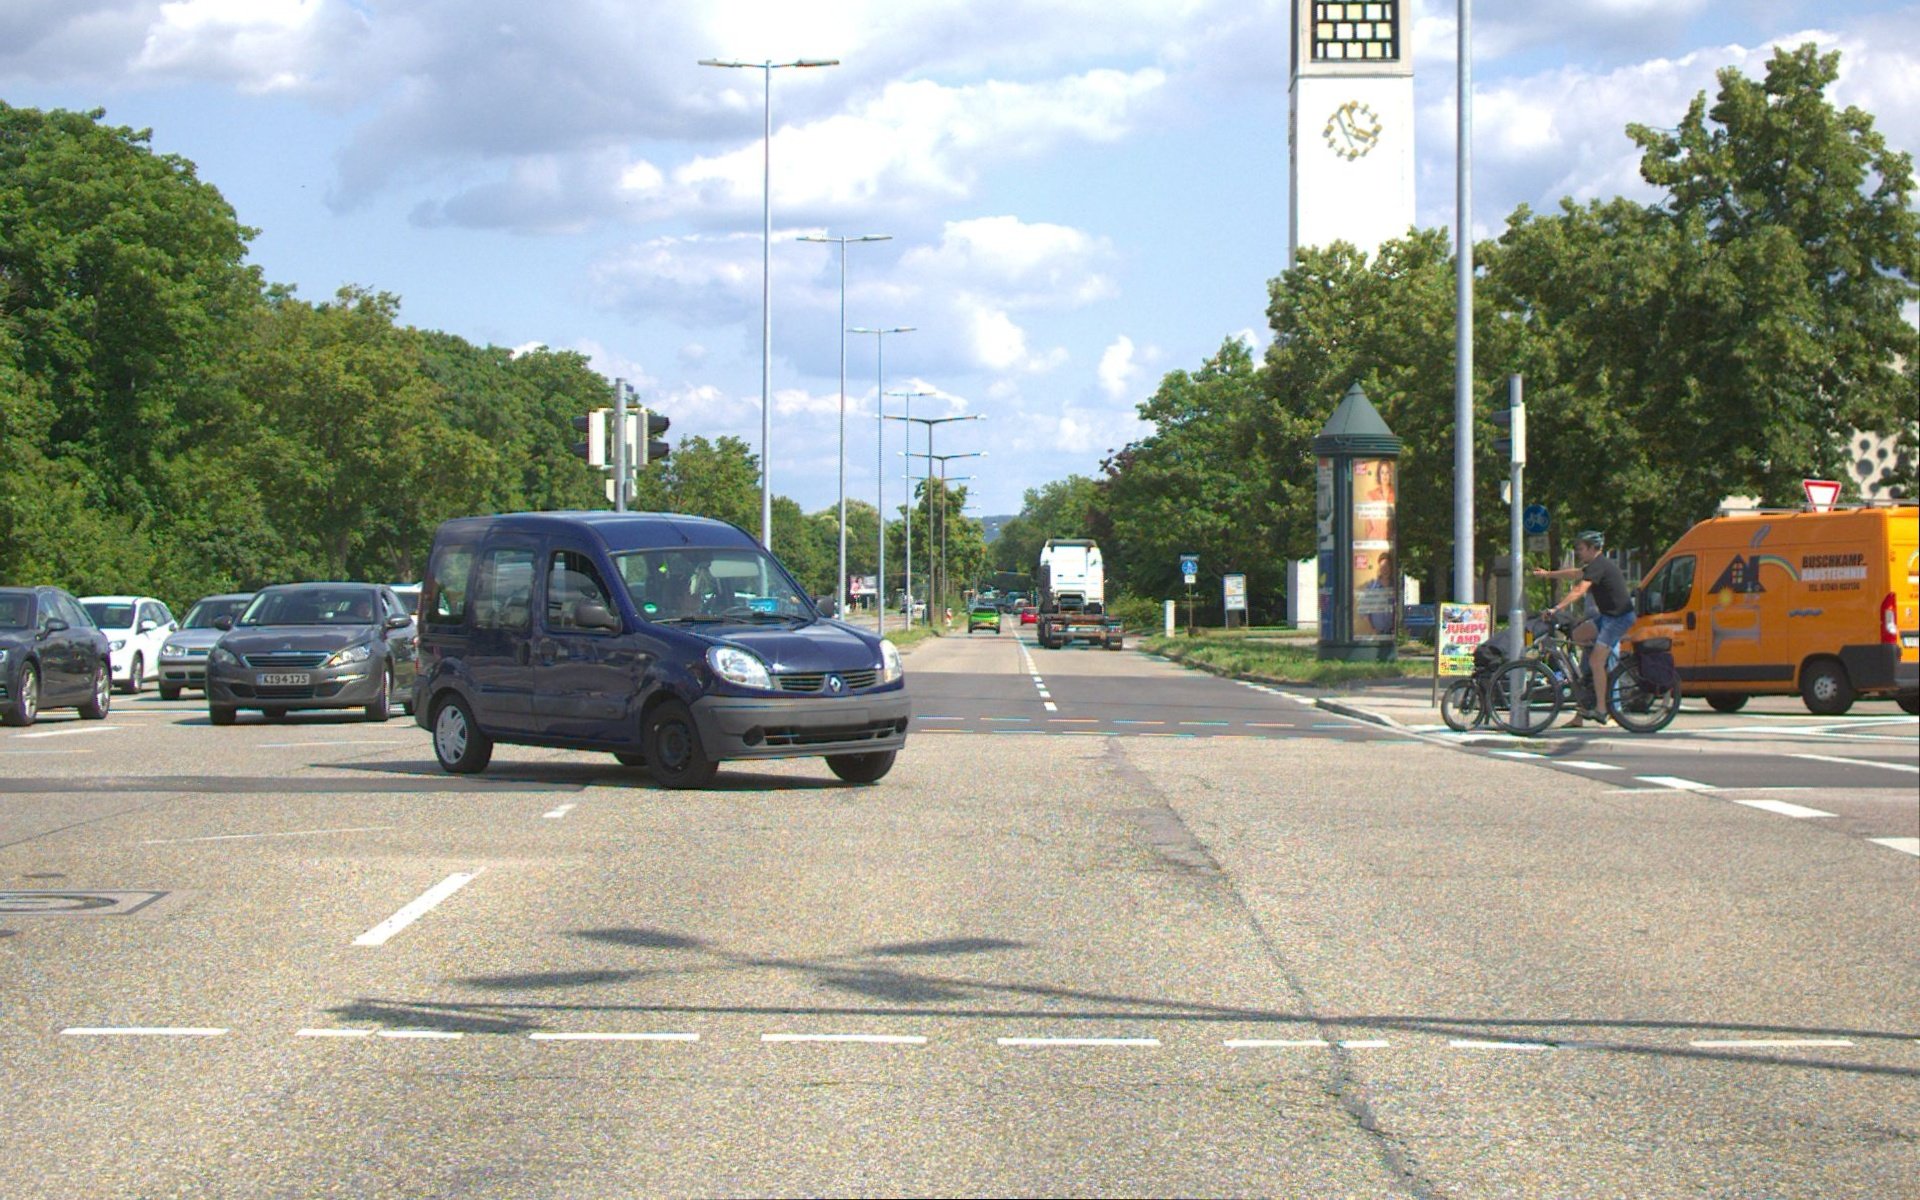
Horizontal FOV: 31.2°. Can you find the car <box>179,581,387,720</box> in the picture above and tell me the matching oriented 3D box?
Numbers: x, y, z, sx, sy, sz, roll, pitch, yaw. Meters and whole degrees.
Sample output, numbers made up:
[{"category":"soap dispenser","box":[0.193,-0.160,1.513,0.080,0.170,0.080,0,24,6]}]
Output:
[{"category":"car","box":[-6.911,0.493,35.355,1.568,1.311,3.432,2,0,-3]}]

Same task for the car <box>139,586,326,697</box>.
[{"category":"car","box":[-9.953,0.548,47.290,1.725,1.393,4.000,2,0,-1]}]

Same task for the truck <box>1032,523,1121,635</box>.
[{"category":"truck","box":[4.330,-0.706,126.230,2.960,3.957,8.636,1,-1,4]}]

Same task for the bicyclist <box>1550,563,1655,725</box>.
[{"category":"bicyclist","box":[6.508,0.435,34.845,0.698,1.610,0.797,0,0,-24]}]

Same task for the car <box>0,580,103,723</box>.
[{"category":"car","box":[-9.847,0.480,34.249,1.763,1.347,3.519,0,0,-1]}]

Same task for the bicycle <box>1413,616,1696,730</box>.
[{"category":"bicycle","box":[5.995,0.722,34.628,2.832,1.108,0.797,0,1,-24]}]

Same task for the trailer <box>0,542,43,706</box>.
[{"category":"trailer","box":[-12.869,0.256,41.068,2.124,2.007,5.161,2,0,3]}]

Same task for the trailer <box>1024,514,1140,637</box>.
[{"category":"trailer","box":[4.298,-0.753,118.477,3.621,3.998,11.317,1,-1,4]}]

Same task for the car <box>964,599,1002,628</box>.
[{"category":"car","box":[1.298,0.757,192.434,1.993,1.547,4.000,2,0,-1]}]

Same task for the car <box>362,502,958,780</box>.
[{"category":"car","box":[-2.072,0.224,22.726,1.735,1.654,4.229,2,0,-41]}]

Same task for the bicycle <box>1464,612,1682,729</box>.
[{"category":"bicycle","box":[5.884,0.669,33.074,1.997,1.090,0.686,0,0,5]}]

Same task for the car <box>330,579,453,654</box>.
[{"category":"car","box":[-9.793,0.276,59.401,1.548,1.213,3.490,2,0,-1]}]

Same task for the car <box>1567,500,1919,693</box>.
[{"category":"car","box":[10.078,-0.061,42.282,2.205,2.218,4.859,2,0,-37]}]

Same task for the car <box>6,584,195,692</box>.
[{"category":"car","box":[-12.984,0.562,52.171,1.858,1.508,4.000,2,0,-1]}]

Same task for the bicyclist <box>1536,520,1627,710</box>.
[{"category":"bicyclist","box":[5.968,0.140,33.064,0.787,1.798,0.686,0,0,5]}]
